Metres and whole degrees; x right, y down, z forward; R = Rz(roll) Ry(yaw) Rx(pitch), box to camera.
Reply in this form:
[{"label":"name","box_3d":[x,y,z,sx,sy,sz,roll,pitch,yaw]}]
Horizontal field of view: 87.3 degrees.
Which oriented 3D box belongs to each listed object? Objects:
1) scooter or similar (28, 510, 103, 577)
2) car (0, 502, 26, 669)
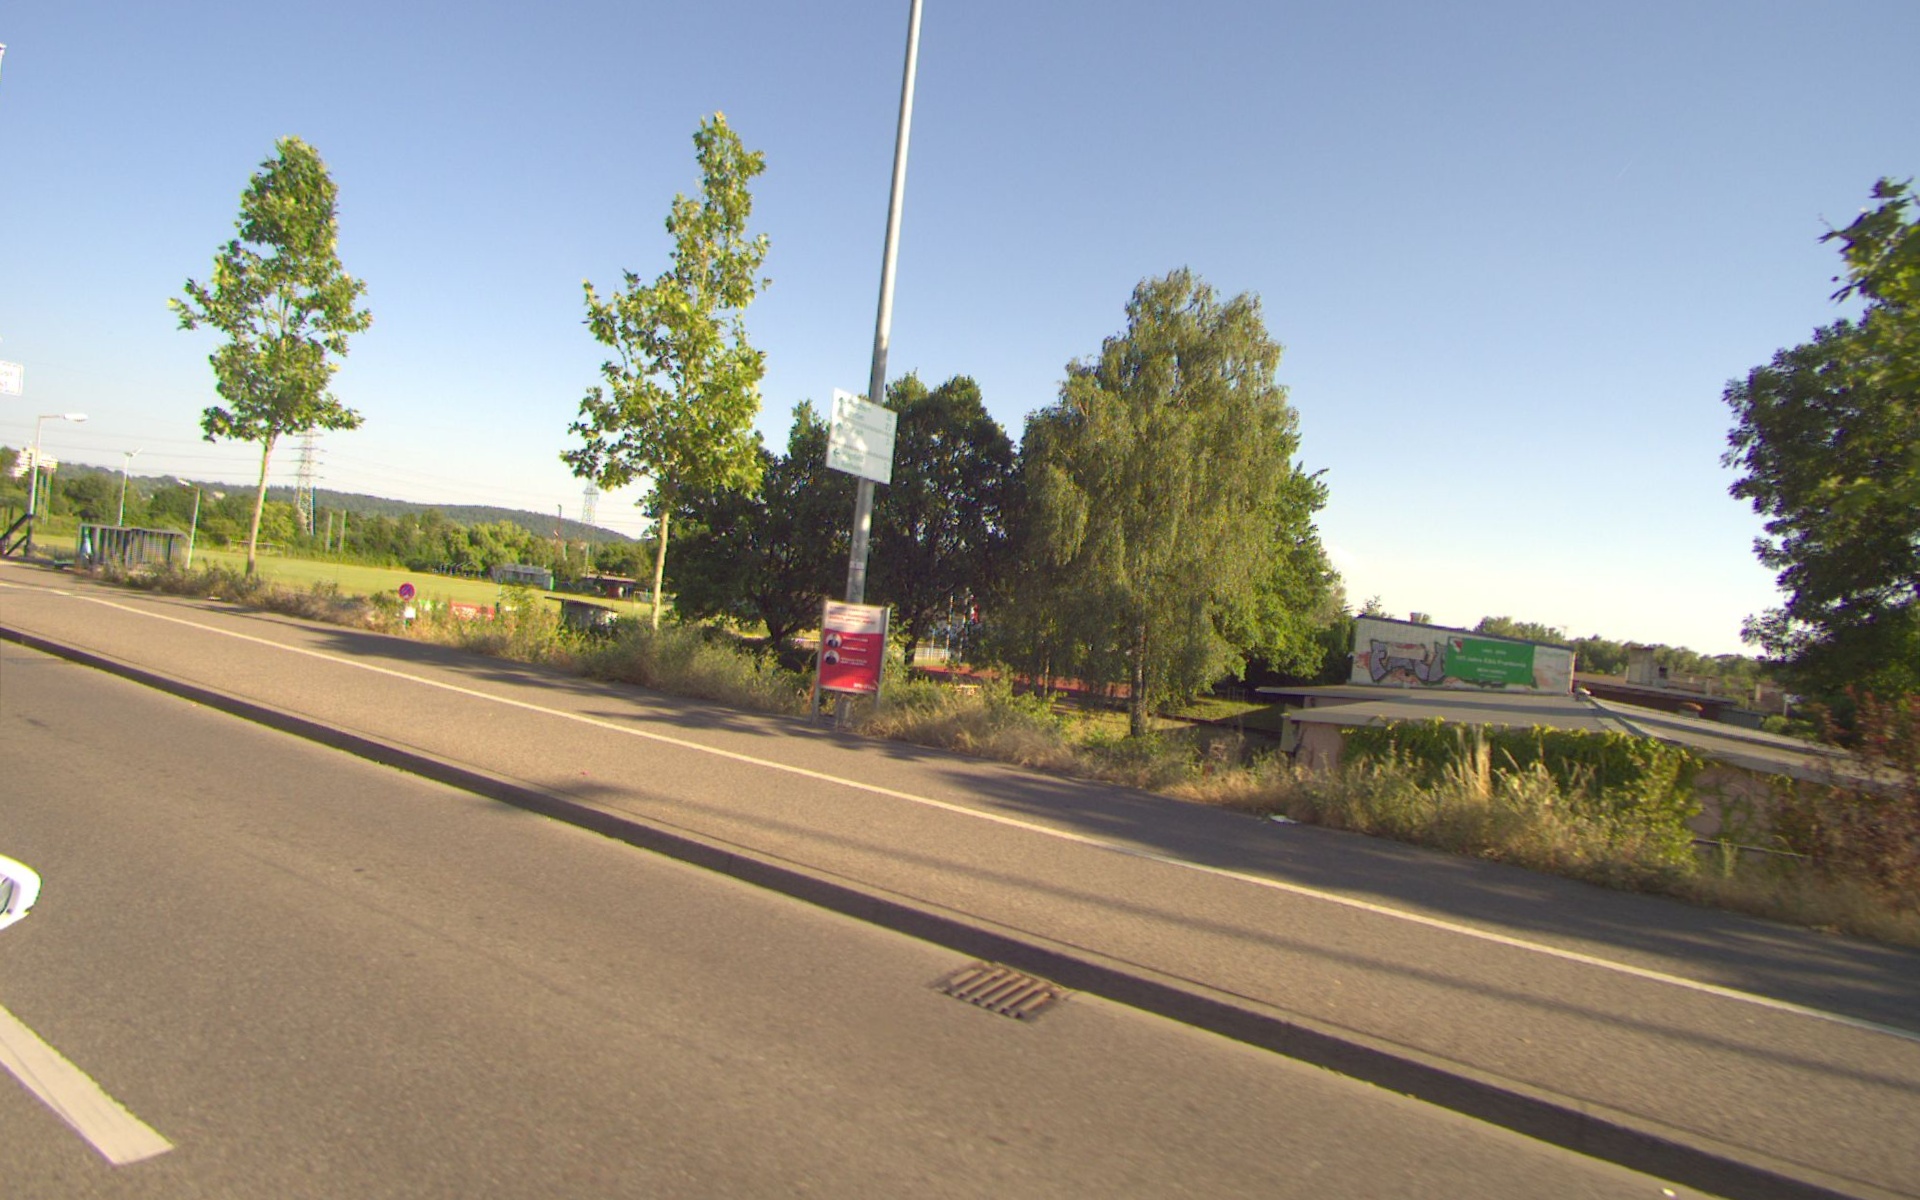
[{"label":"scooter or similar","box_3d":[-18.686,-1.173,21.021,1.243,1.246,0.525,6,1,17]},{"label":"car","box_3d":[-10.886,-0.388,9.403,4.509,1.484,1.869,6,-2,31]}]
